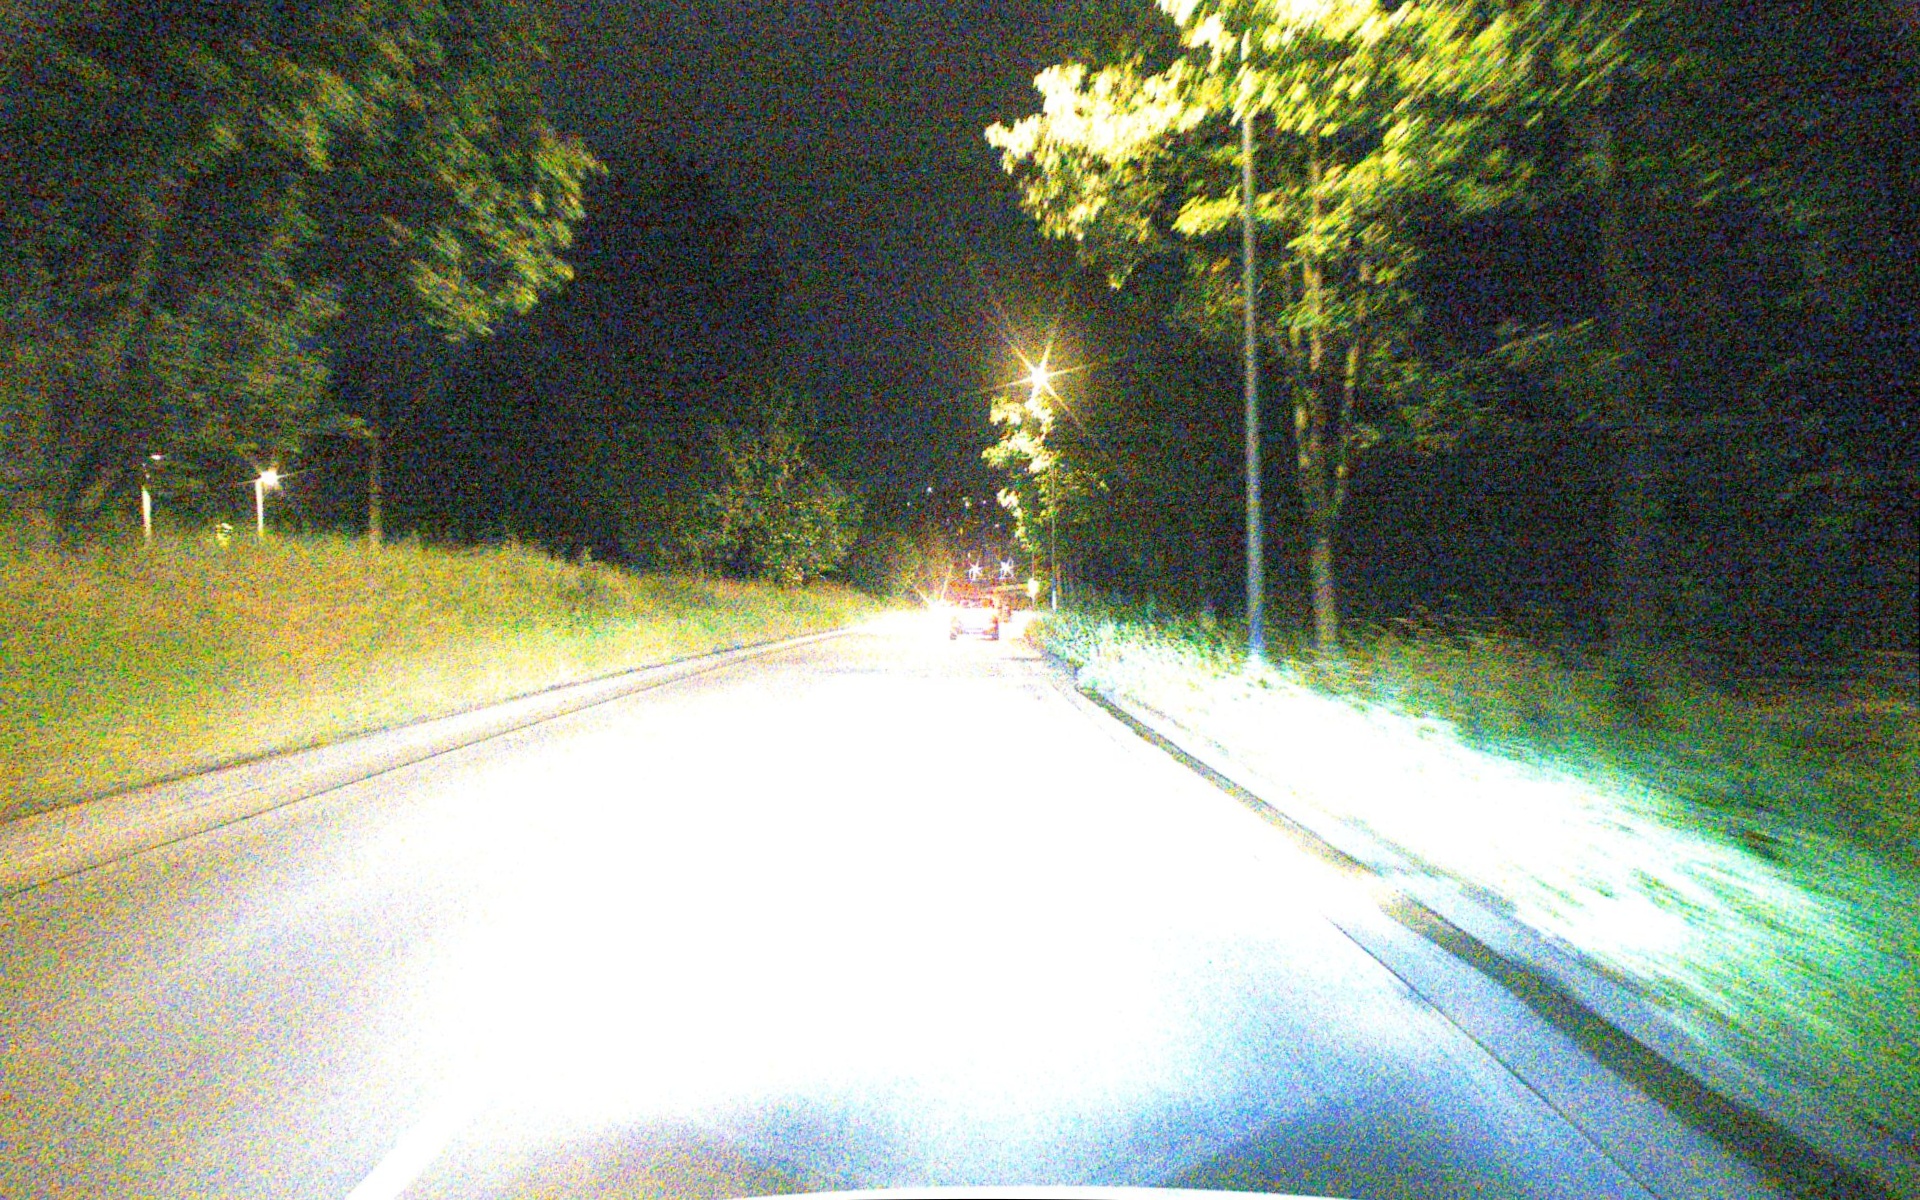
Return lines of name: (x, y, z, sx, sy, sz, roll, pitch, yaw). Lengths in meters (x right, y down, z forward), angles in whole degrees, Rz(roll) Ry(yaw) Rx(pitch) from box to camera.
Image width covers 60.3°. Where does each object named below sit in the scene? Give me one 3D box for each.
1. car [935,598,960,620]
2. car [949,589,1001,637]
car: (-0.834, 0.643, 114.180, 1.653, 1.483, 4.000, 0, 0, 0)
car: (0.506, 0.465, 59.724, 1.727, 1.670, 3.721, 0, 0, -2)
